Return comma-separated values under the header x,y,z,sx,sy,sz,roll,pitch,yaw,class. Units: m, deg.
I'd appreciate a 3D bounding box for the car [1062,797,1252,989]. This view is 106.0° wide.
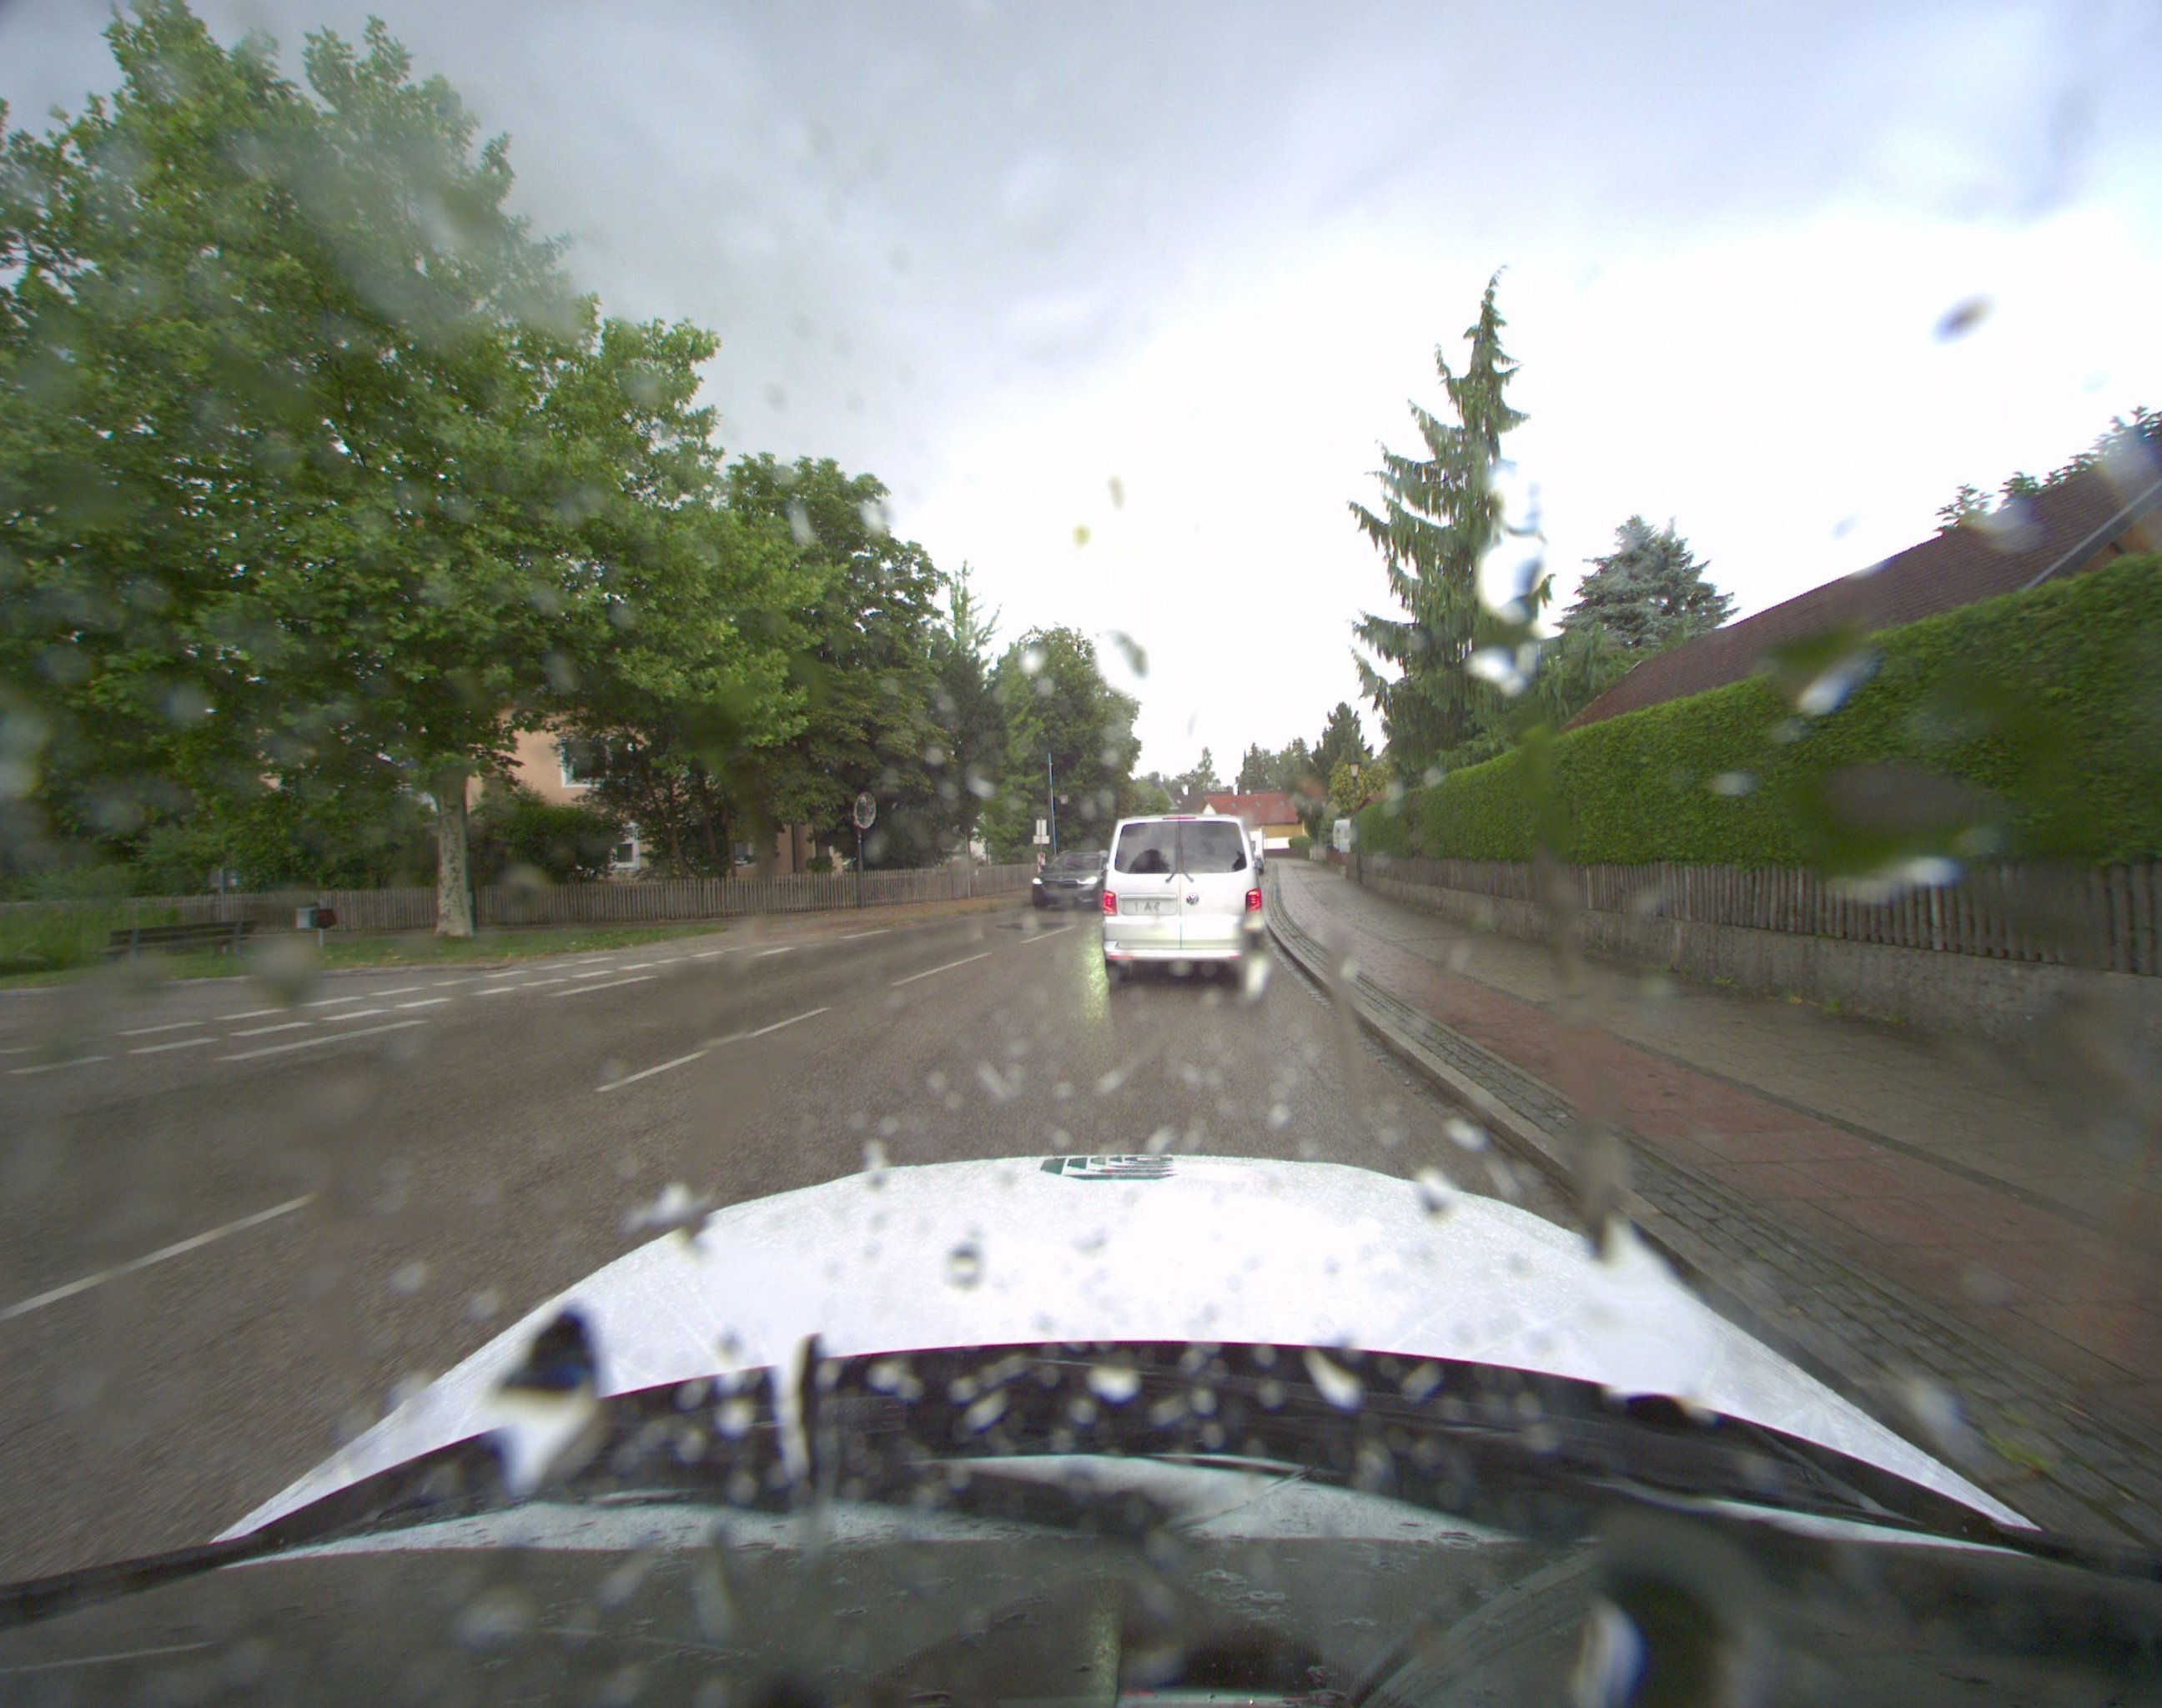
x,y,z,sx,sy,sz,roll,pitch,yaw,class
1.197,0.431,10.723,1.787,2.014,4.016,-1,-1,15,car

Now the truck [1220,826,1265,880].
x,y,z,sx,sy,sz,roll,pitch,yaw,class
9.839,-0.016,49.362,2.458,3.074,6.318,-1,-1,13,truck

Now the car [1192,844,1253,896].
x,y,z,sx,sy,sz,roll,pitch,yaw,class
4.779,0.526,27.096,1.788,1.588,4.014,-1,-1,13,car

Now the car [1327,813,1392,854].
x,y,z,sx,sy,sz,roll,pitch,yaw,class
15.903,-1.095,46.810,1.987,2.173,4.952,-1,-1,0,car

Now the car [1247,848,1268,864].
x,y,z,sx,sy,sz,roll,pitch,yaw,class
16.375,0.198,75.418,1.788,1.508,4.014,-1,-1,13,car

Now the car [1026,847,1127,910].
x,y,z,sx,sy,sz,roll,pitch,yaw,class
-0.004,0.630,23.083,1.980,1.595,4.205,-1,0,12,car
